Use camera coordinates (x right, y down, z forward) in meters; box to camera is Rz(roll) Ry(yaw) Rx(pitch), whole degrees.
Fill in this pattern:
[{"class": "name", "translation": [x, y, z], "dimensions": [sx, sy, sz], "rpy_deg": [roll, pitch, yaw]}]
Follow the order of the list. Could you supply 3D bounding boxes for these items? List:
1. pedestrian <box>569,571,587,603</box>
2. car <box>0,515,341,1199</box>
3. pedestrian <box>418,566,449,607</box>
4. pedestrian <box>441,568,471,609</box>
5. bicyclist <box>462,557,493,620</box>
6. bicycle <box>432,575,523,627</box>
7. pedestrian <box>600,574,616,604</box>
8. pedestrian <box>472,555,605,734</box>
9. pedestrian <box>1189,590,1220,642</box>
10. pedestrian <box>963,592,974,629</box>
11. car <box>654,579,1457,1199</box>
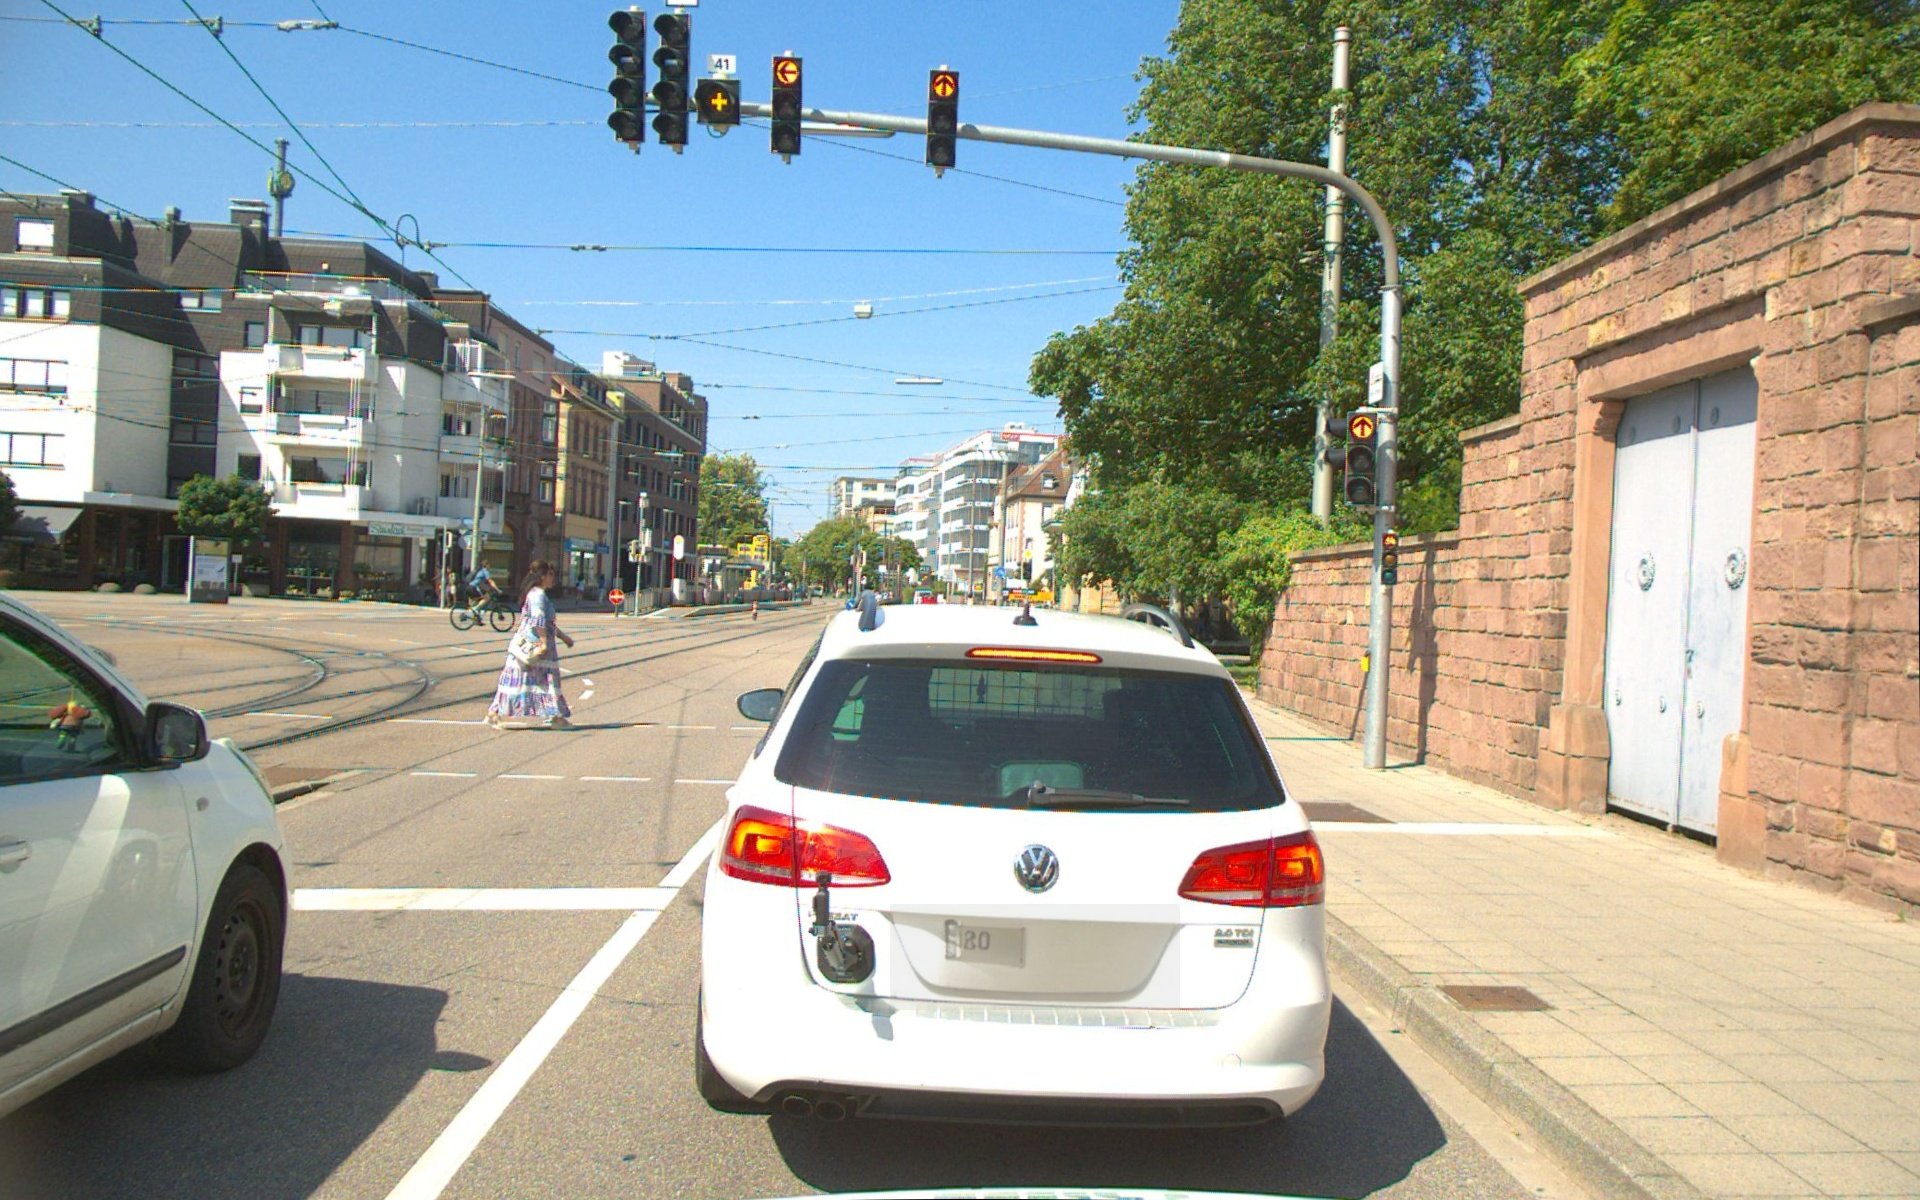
[{"class": "pedestrian", "translation": [-21.419, -0.716, 92.861], "dimensions": [0.845, 1.773, 0.973], "rpy_deg": [1, -1, -6]}, {"class": "car", "translation": [-2.850, 0.605, 3.624], "dimensions": [1.608, 1.593, 3.803], "rpy_deg": [1, 1, -1]}, {"class": "pedestrian", "translation": [-22.863, -0.575, 71.816], "dimensions": [0.845, 1.773, 0.973], "rpy_deg": [0, -1, 28]}, {"class": "pedestrian", "translation": [-21.895, -0.482, 71.877], "dimensions": [0.849, 1.773, 0.968], "rpy_deg": [0, -1, 43]}, {"class": "bicyclist", "translation": [-12.652, -0.293, 43.381], "dimensions": [0.630, 1.641, 0.556], "rpy_deg": [1, -1, -34]}, {"class": "bicycle", "translation": [-12.654, 0.045, 43.378], "dimensions": [2.222, 1.320, 0.553], "rpy_deg": [1, -1, -34]}, {"class": "pedestrian", "translation": [-21.030, -0.636, 98.776], "dimensions": [0.845, 1.773, 0.973], "rpy_deg": [1, -1, -6]}, {"class": "pedestrian", "translation": [-4.144, 0.429, 16.255], "dimensions": [0.965, 1.680, 0.943], "rpy_deg": [1, -1, -38]}, {"class": "pedestrian", "translation": [8.436, 0.554, 56.973], "dimensions": [0.951, 1.773, 0.865], "rpy_deg": [0, -1, 16]}, {"class": "pedestrian", "translation": [0.524, 0.652, 106.703], "dimensions": [0.675, 2.366, 1.232], "rpy_deg": [0, -1, 0]}, {"class": "car", "translation": [0.185, 0.710, 5.730], "dimensions": [1.771, 1.473, 3.999], "rpy_deg": [2, 0, -1]}]
